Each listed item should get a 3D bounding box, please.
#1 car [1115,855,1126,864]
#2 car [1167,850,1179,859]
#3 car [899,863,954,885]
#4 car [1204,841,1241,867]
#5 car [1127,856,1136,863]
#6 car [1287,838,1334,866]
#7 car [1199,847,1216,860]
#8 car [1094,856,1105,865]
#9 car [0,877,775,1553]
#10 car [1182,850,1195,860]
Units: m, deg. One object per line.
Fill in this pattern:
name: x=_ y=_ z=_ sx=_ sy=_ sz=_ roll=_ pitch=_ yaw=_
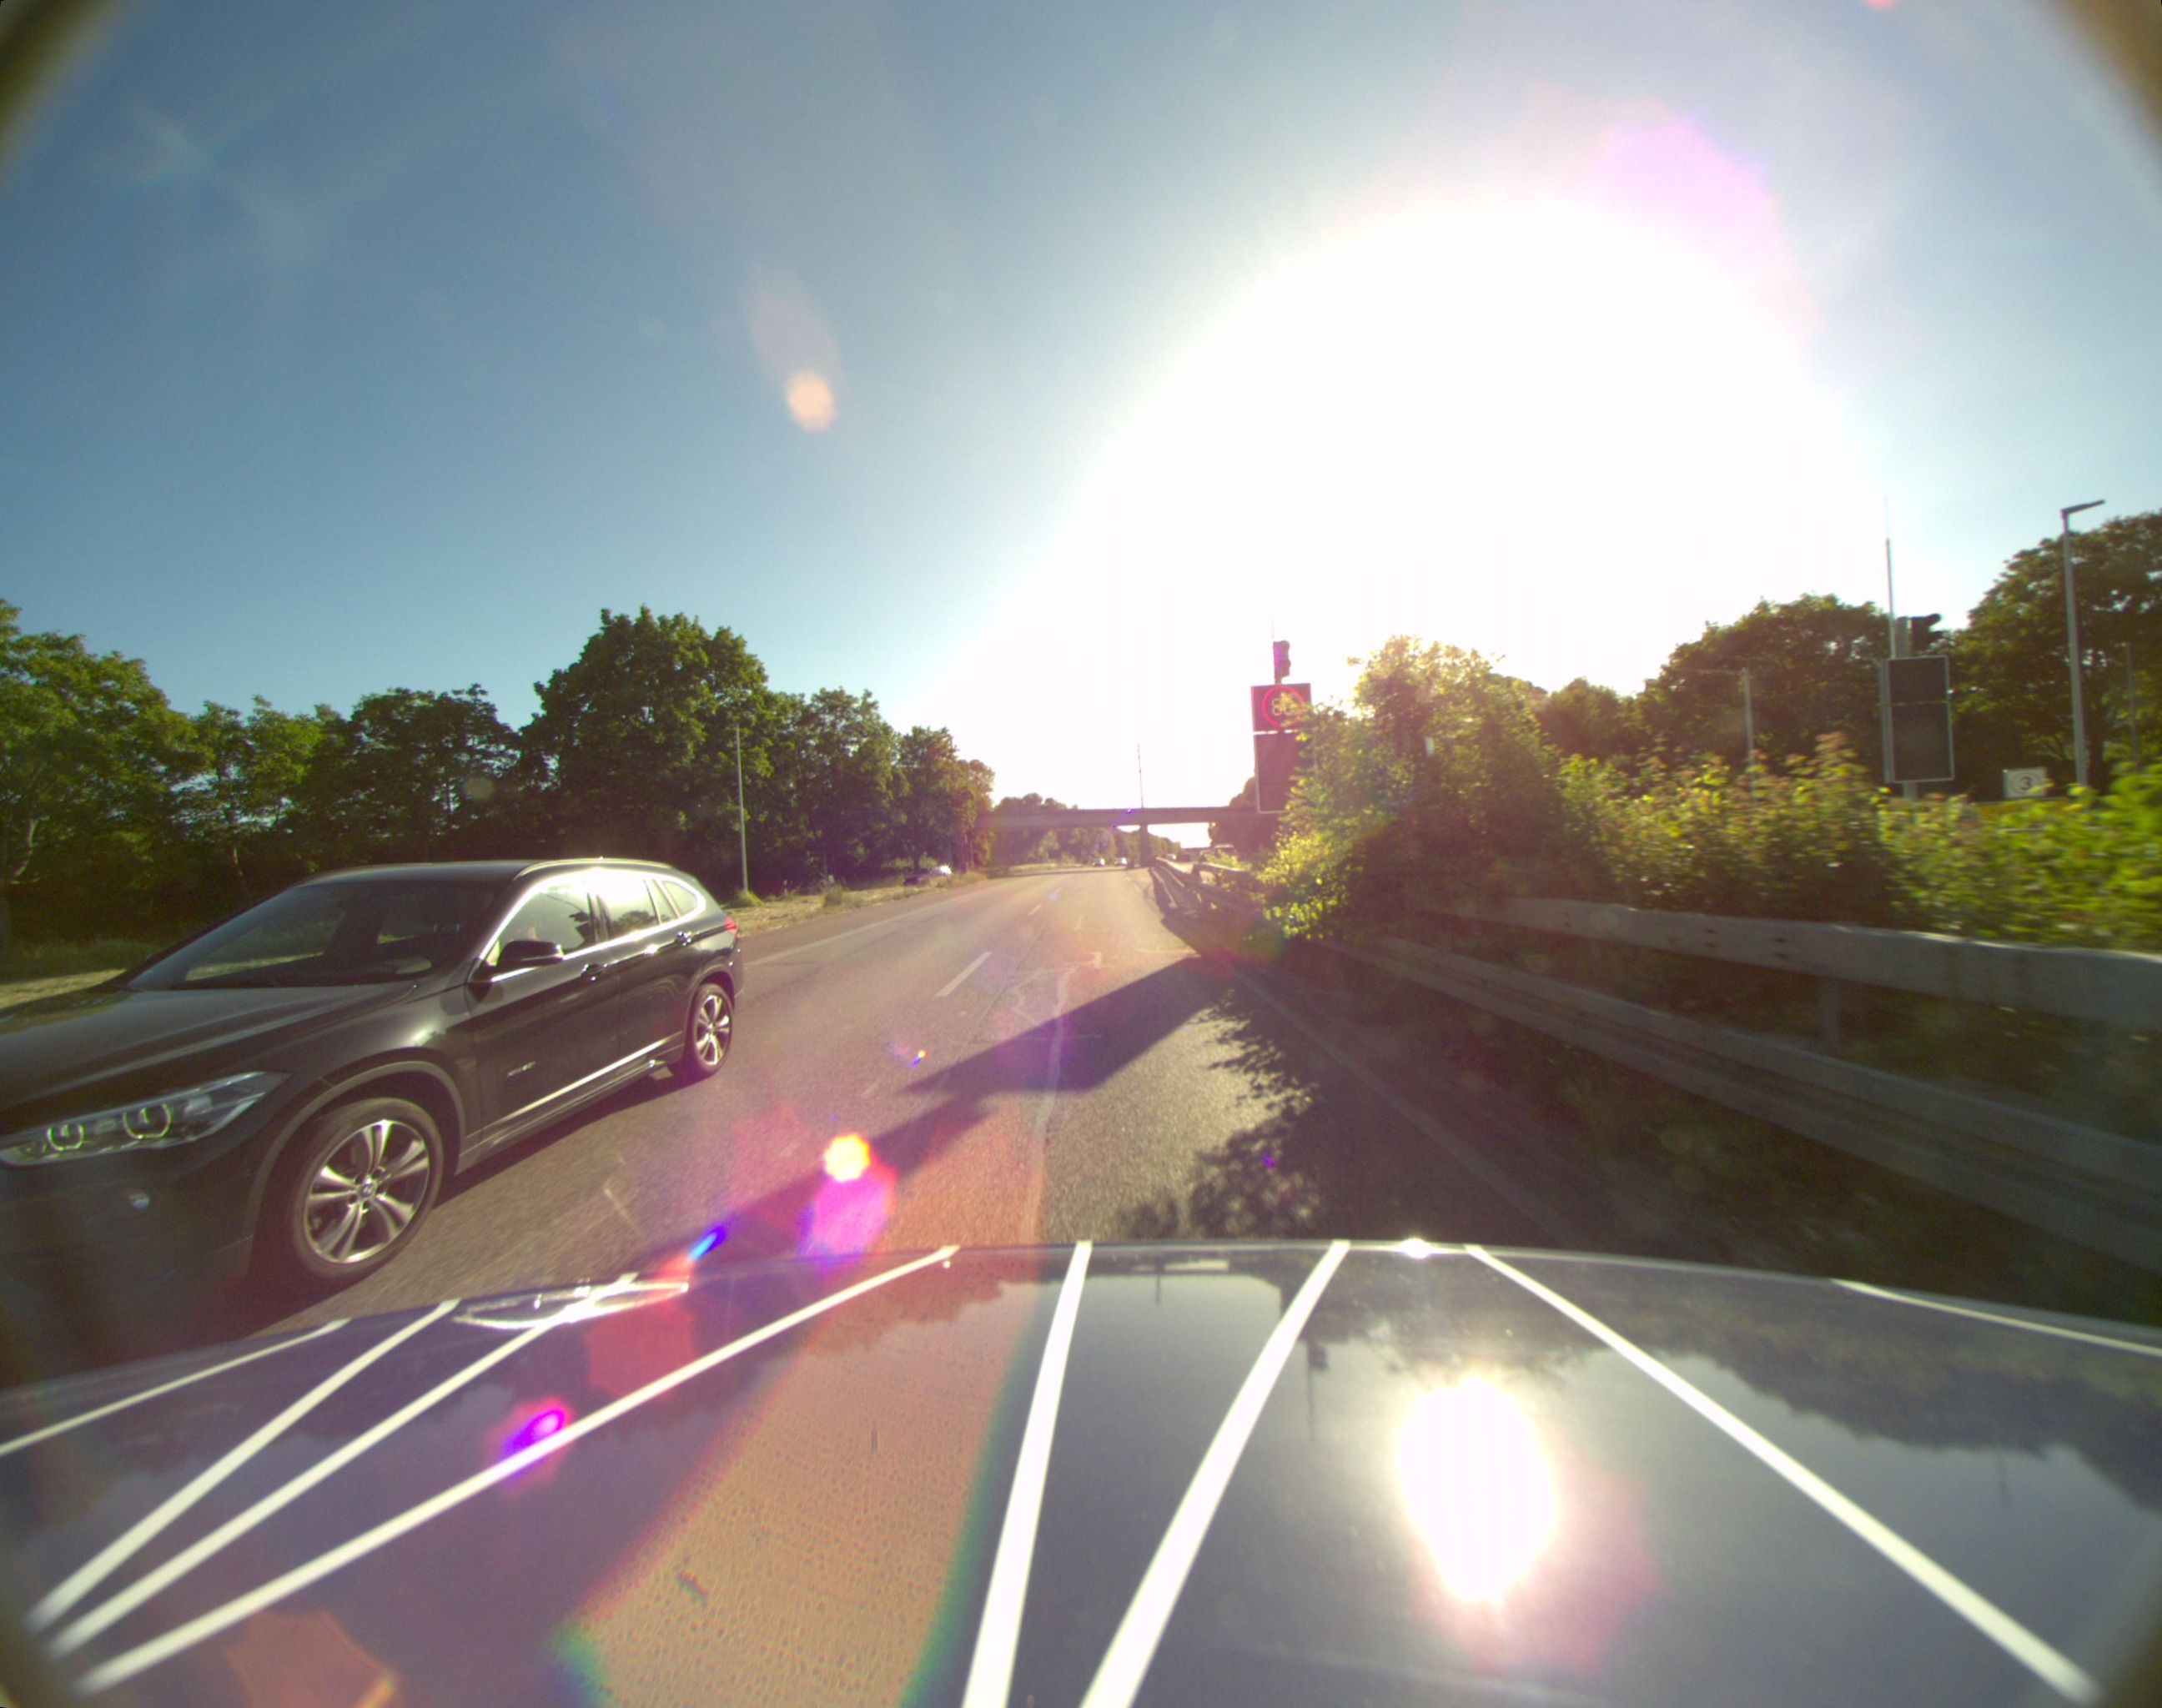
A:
car: x=6.787 y=0.916 z=130.126 sx=1.725 sy=1.412 sz=3.670 roll=-3 pitch=0 yaw=0
car: x=16.751 y=0.105 z=138.703 sx=1.791 sy=1.569 sz=4.533 roll=-2 pitch=0 yaw=3
car: x=-11.202 y=1.410 z=55.368 sx=1.760 sy=1.401 sz=4.062 roll=-3 pitch=0 yaw=25
car: x=9.383 y=-0.046 z=50.525 sx=1.720 sy=1.566 sz=4.163 roll=-4 pitch=1 yaw=2
car: x=10.835 y=1.254 z=163.313 sx=1.725 sy=1.412 sz=3.671 roll=-3 pitch=0 yaw=4
car: x=12.975 y=-0.085 z=43.091 sx=1.613 sy=1.476 sz=3.392 roll=-2 pitch=0 yaw=0
car: x=16.355 y=-0.072 z=98.533 sx=1.676 sy=1.563 sz=4.322 roll=-2 pitch=0 yaw=2
car: x=3.139 y=1.092 z=130.761 sx=1.682 sy=1.412 sz=3.670 roll=-3 pitch=0 yaw=3
car: x=-3.536 y=1.000 z=4.157 sx=1.759 sy=1.563 sz=4.521 roll=-2 pitch=0 yaw=1
car: x=21.550 y=0.144 z=152.244 sx=1.998 sy=1.899 sz=5.522 roll=-2 pitch=0 yaw=3
